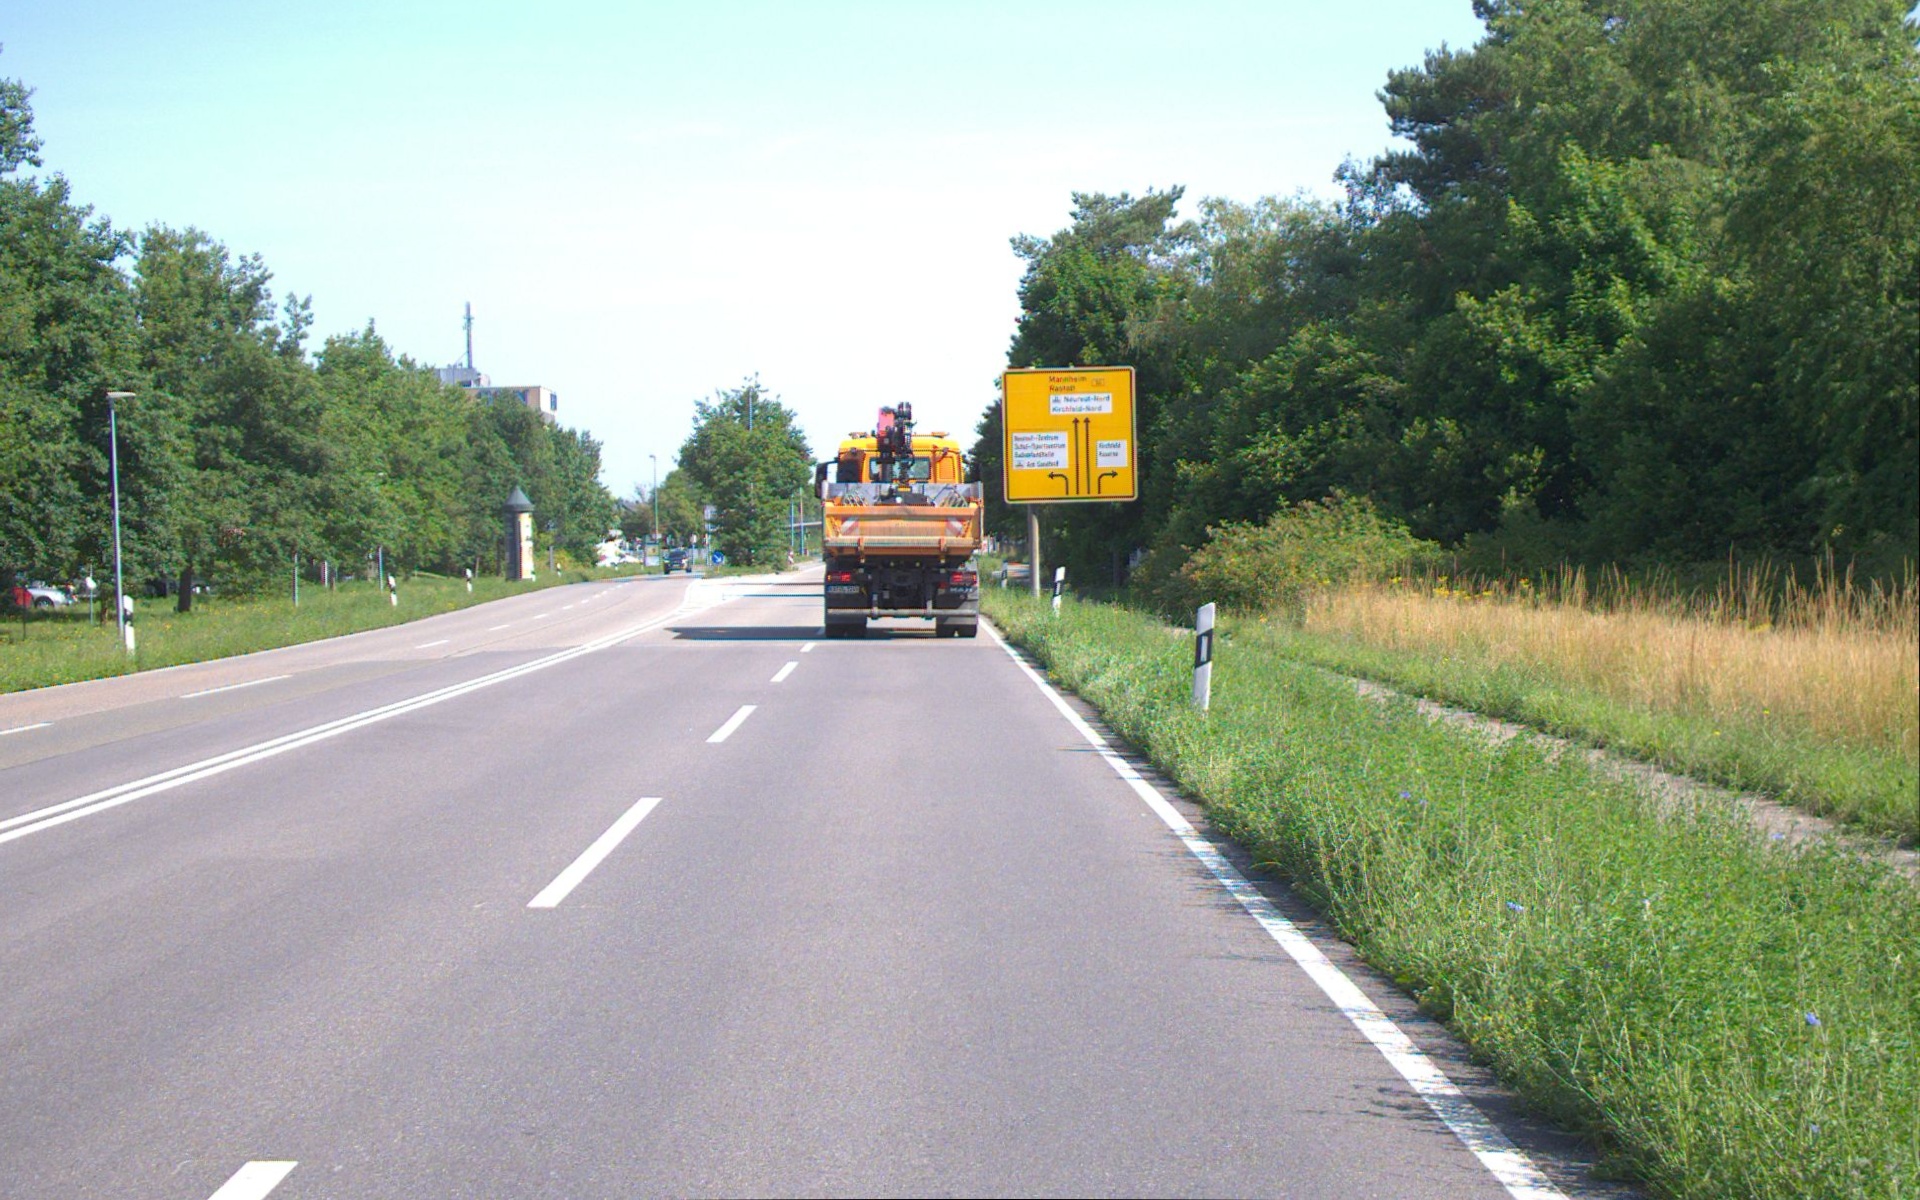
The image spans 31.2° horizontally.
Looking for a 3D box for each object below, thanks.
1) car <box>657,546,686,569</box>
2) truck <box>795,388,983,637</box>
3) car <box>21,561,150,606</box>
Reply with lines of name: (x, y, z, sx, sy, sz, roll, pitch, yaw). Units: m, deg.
car: (-21.397, -3.157, 255.087, 1.800, 1.566, 4.000, -2, 1, -1)
truck: (-1.290, -1.431, 57.473, 2.871, 3.867, 7.401, 1, 1, -3)
car: (-34.857, -0.653, 137.052, 4.594, 1.644, 2.000, -1, 1, -1)
